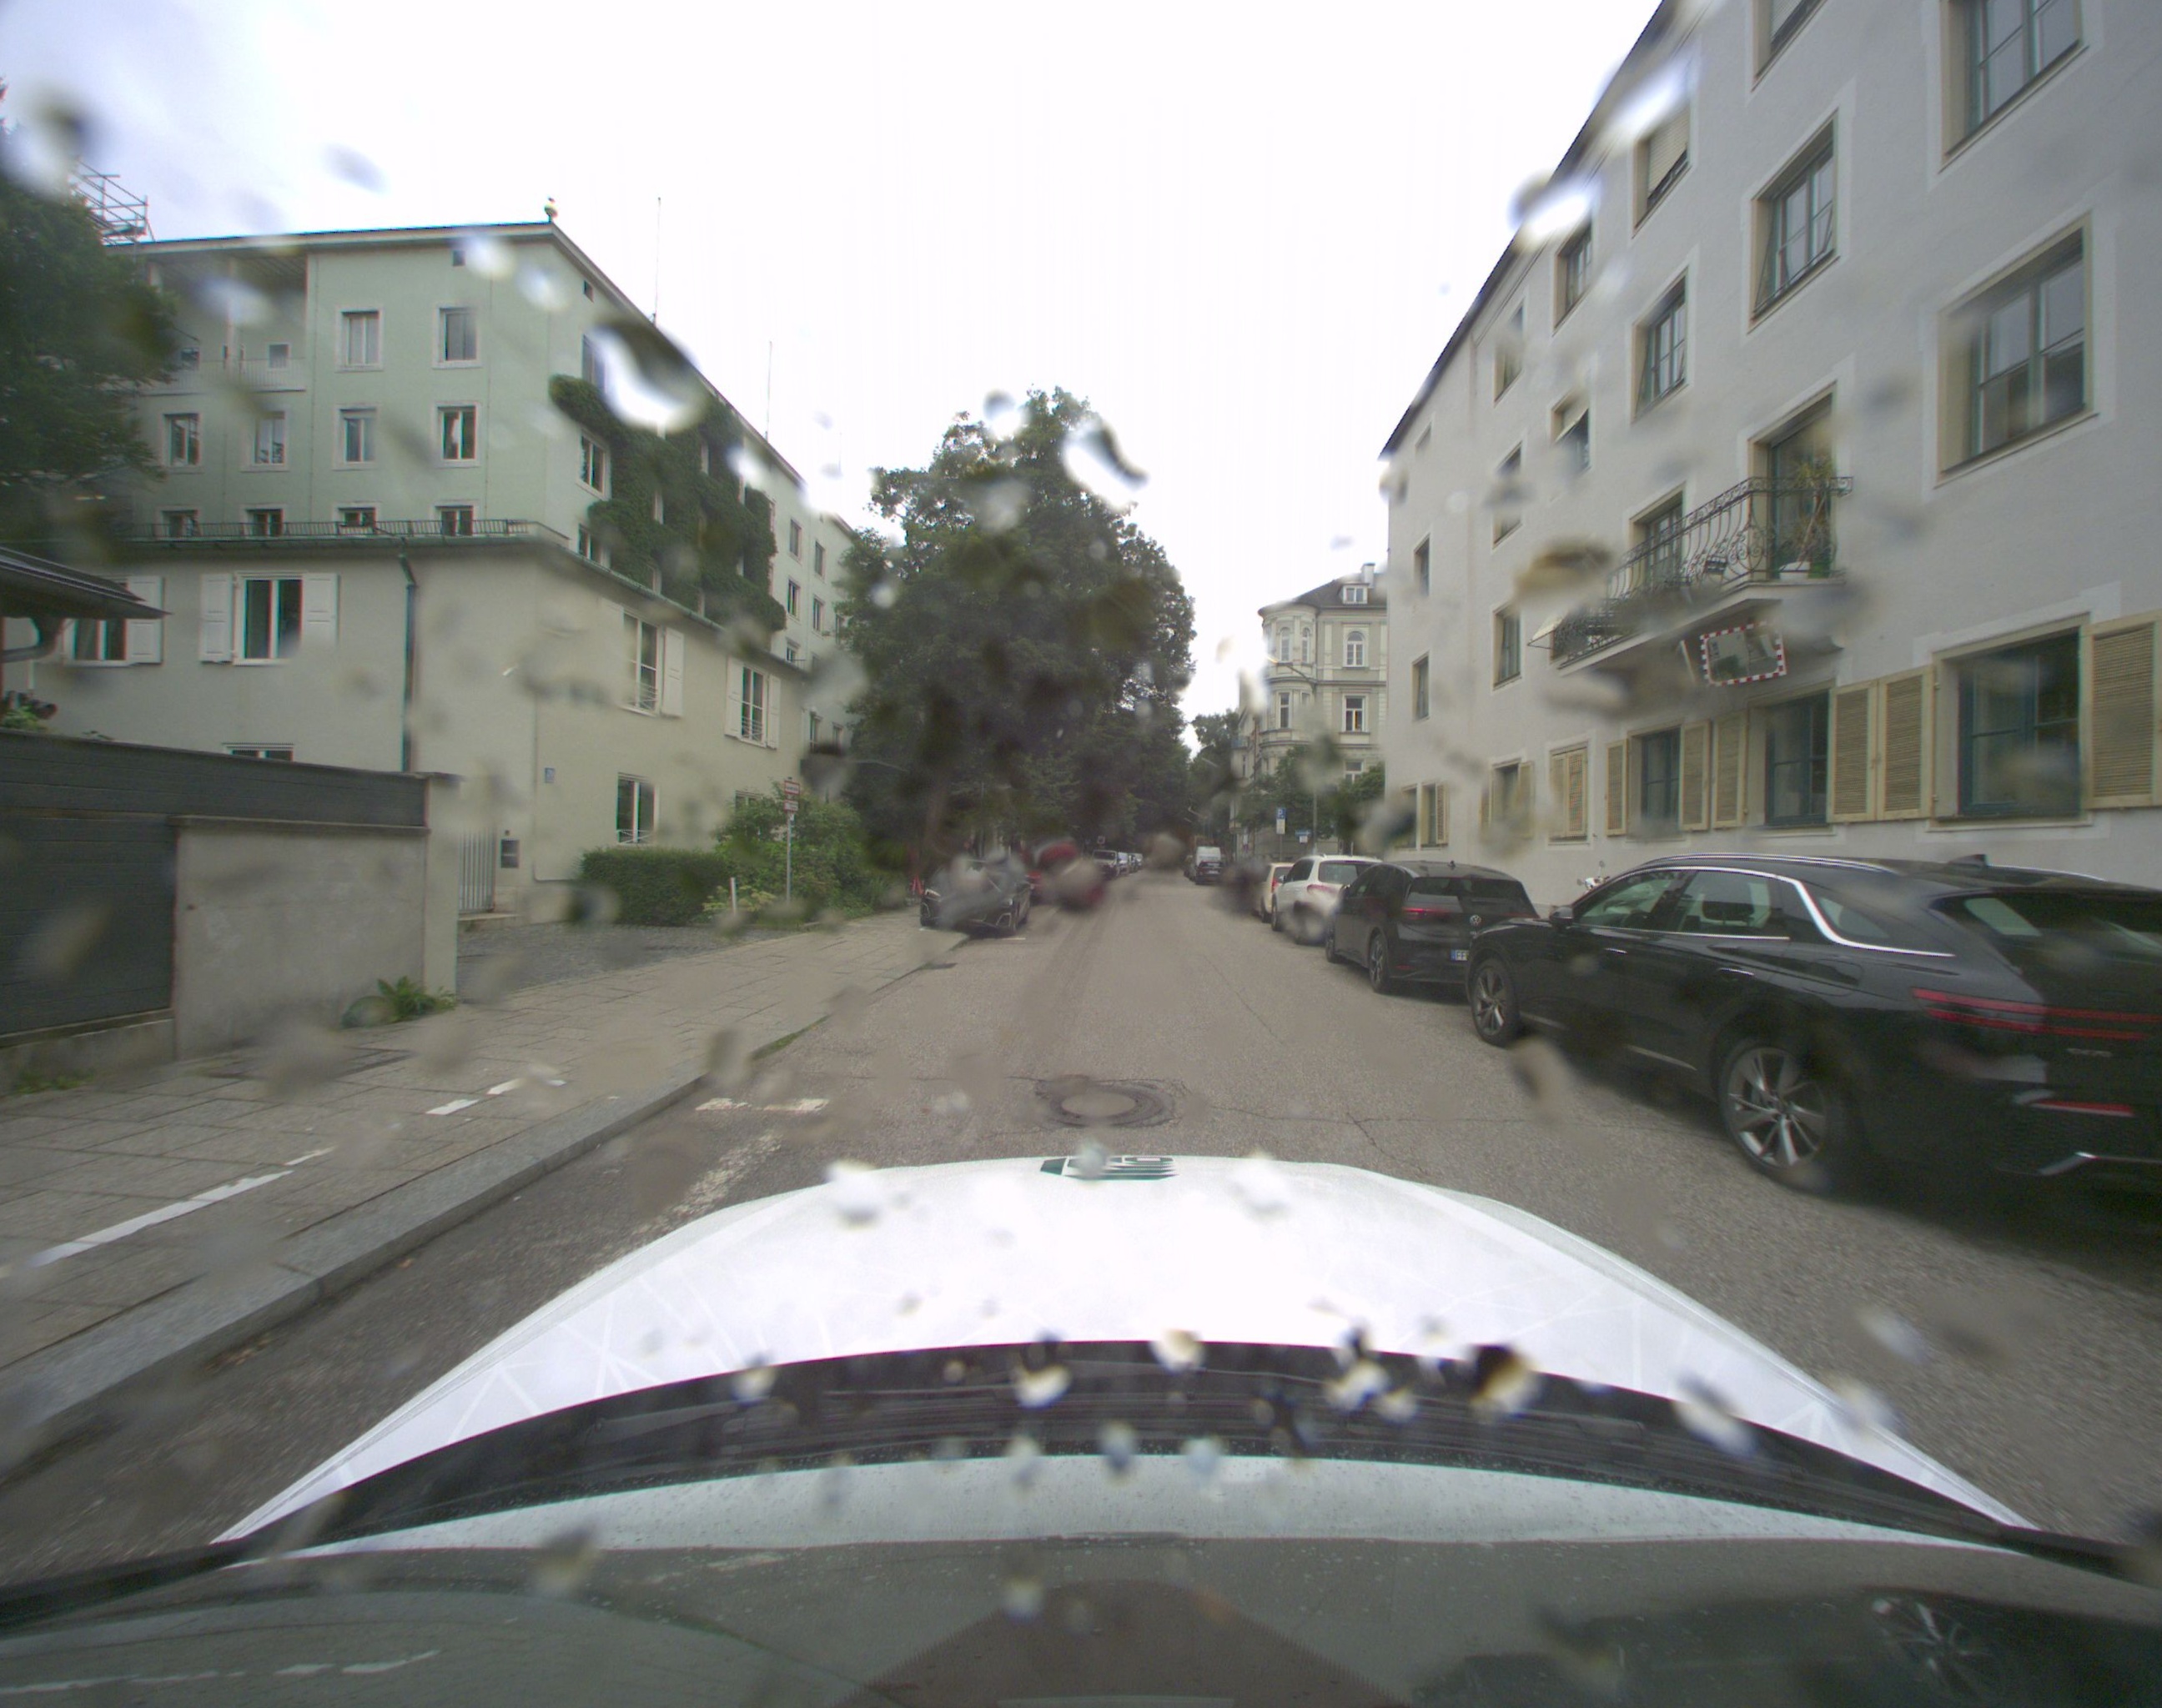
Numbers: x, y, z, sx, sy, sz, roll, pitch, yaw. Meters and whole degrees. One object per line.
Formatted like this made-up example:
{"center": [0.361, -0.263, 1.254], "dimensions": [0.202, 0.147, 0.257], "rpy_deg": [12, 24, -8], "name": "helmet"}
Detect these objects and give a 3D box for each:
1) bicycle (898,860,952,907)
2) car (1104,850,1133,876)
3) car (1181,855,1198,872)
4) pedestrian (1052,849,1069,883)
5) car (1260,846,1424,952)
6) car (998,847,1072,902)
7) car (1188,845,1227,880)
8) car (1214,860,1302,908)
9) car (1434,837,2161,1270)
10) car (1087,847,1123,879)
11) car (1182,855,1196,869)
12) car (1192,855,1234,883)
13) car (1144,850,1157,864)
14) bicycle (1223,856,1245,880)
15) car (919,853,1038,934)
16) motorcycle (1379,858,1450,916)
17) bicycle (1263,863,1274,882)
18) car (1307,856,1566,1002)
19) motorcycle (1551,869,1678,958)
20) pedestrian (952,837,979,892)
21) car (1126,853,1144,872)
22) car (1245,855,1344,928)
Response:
{"center": [-4.011, 0.727, 21.089], "dimensions": [0.645, 1.130, 2.053], "rpy_deg": [1, 0, 10], "name": "bicycle"}
{"center": [3.087, 0.741, 66.771], "dimensions": [2.174, 1.956, 5.170], "rpy_deg": [2, 0, 3], "name": "car"}
{"center": [12.994, 1.101, 97.524], "dimensions": [1.982, 1.975, 4.009], "rpy_deg": [0, 0, 8], "name": "car"}
{"center": [-0.961, 0.573, 38.573], "dimensions": [0.711, 1.548, 0.752], "rpy_deg": [3, -1, 0], "name": "pedestrian"}
{"center": [4.951, 0.772, 16.155], "dimensions": [1.985, 1.707, 4.539], "rpy_deg": [3, 0, 4], "name": "car"}
{"center": [-1.439, 0.623, 27.056], "dimensions": [1.879, 1.590, 4.531], "rpy_deg": [2, 0, 3], "name": "car"}
{"center": [8.417, 0.575, 54.648], "dimensions": [2.194, 2.208, 4.860], "rpy_deg": [0, -1, 4], "name": "car"}
{"center": [5.454, 0.891, 25.649], "dimensions": [1.991, 1.319, 4.599], "rpy_deg": [-1, 0, 3], "name": "car"}
{"center": [4.303, 0.737, 5.424], "dimensions": [1.854, 1.577, 4.900], "rpy_deg": [0, 0, 1], "name": "car"}
{"center": [1.671, 0.611, 55.112], "dimensions": [2.238, 1.956, 5.458], "rpy_deg": [2, 0, 3], "name": "car"}
{"center": [15.439, 1.127, 116.599], "dimensions": [1.982, 2.014, 4.009], "rpy_deg": [0, 0, 8], "name": "car"}
{"center": [7.673, 0.881, 47.708], "dimensions": [2.260, 1.546, 4.596], "rpy_deg": [0, -1, 8], "name": "car"}
{"center": [11.883, 0.537, 139.368], "dimensions": [2.039, 2.154, 4.317], "rpy_deg": [2, 0, 3], "name": "car"}
{"center": [10.132, 0.919, 53.992], "dimensions": [0.708, 1.515, 2.031], "rpy_deg": [1, 0, -11], "name": "bicycle"}
{"center": [-1.998, 0.721, 17.327], "dimensions": [1.801, 1.402, 4.924], "rpy_deg": [2, 0, 1], "name": "car"}
{"center": [8.834, 0.836, 21.724], "dimensions": [0.854, 1.433, 2.708], "rpy_deg": [1, 0, 2], "name": "motorcycle"}
{"center": [11.461, 1.120, 49.716], "dimensions": [0.542, 1.060, 1.757], "rpy_deg": [1, 0, 15], "name": "bicycle"}
{"center": [4.386, 0.797, 10.868], "dimensions": [1.830, 1.531, 4.421], "rpy_deg": [0, 0, 4], "name": "car"}
{"center": [8.400, 0.890, 12.935], "dimensions": [0.729, 1.239, 2.008], "rpy_deg": [2, -1, 2], "name": "motorcycle"}
{"center": [-4.032, 0.367, 28.516], "dimensions": [0.709, 1.852, 0.798], "rpy_deg": [2, -1, 4], "name": "pedestrian"}
{"center": [6.676, 0.982, 99.638], "dimensions": [1.993, 2.186, 4.702], "rpy_deg": [2, 0, 5], "name": "car"}
{"center": [5.324, 0.879, 20.767], "dimensions": [1.762, 1.546, 3.717], "rpy_deg": [6, 0, 5], "name": "car"}
